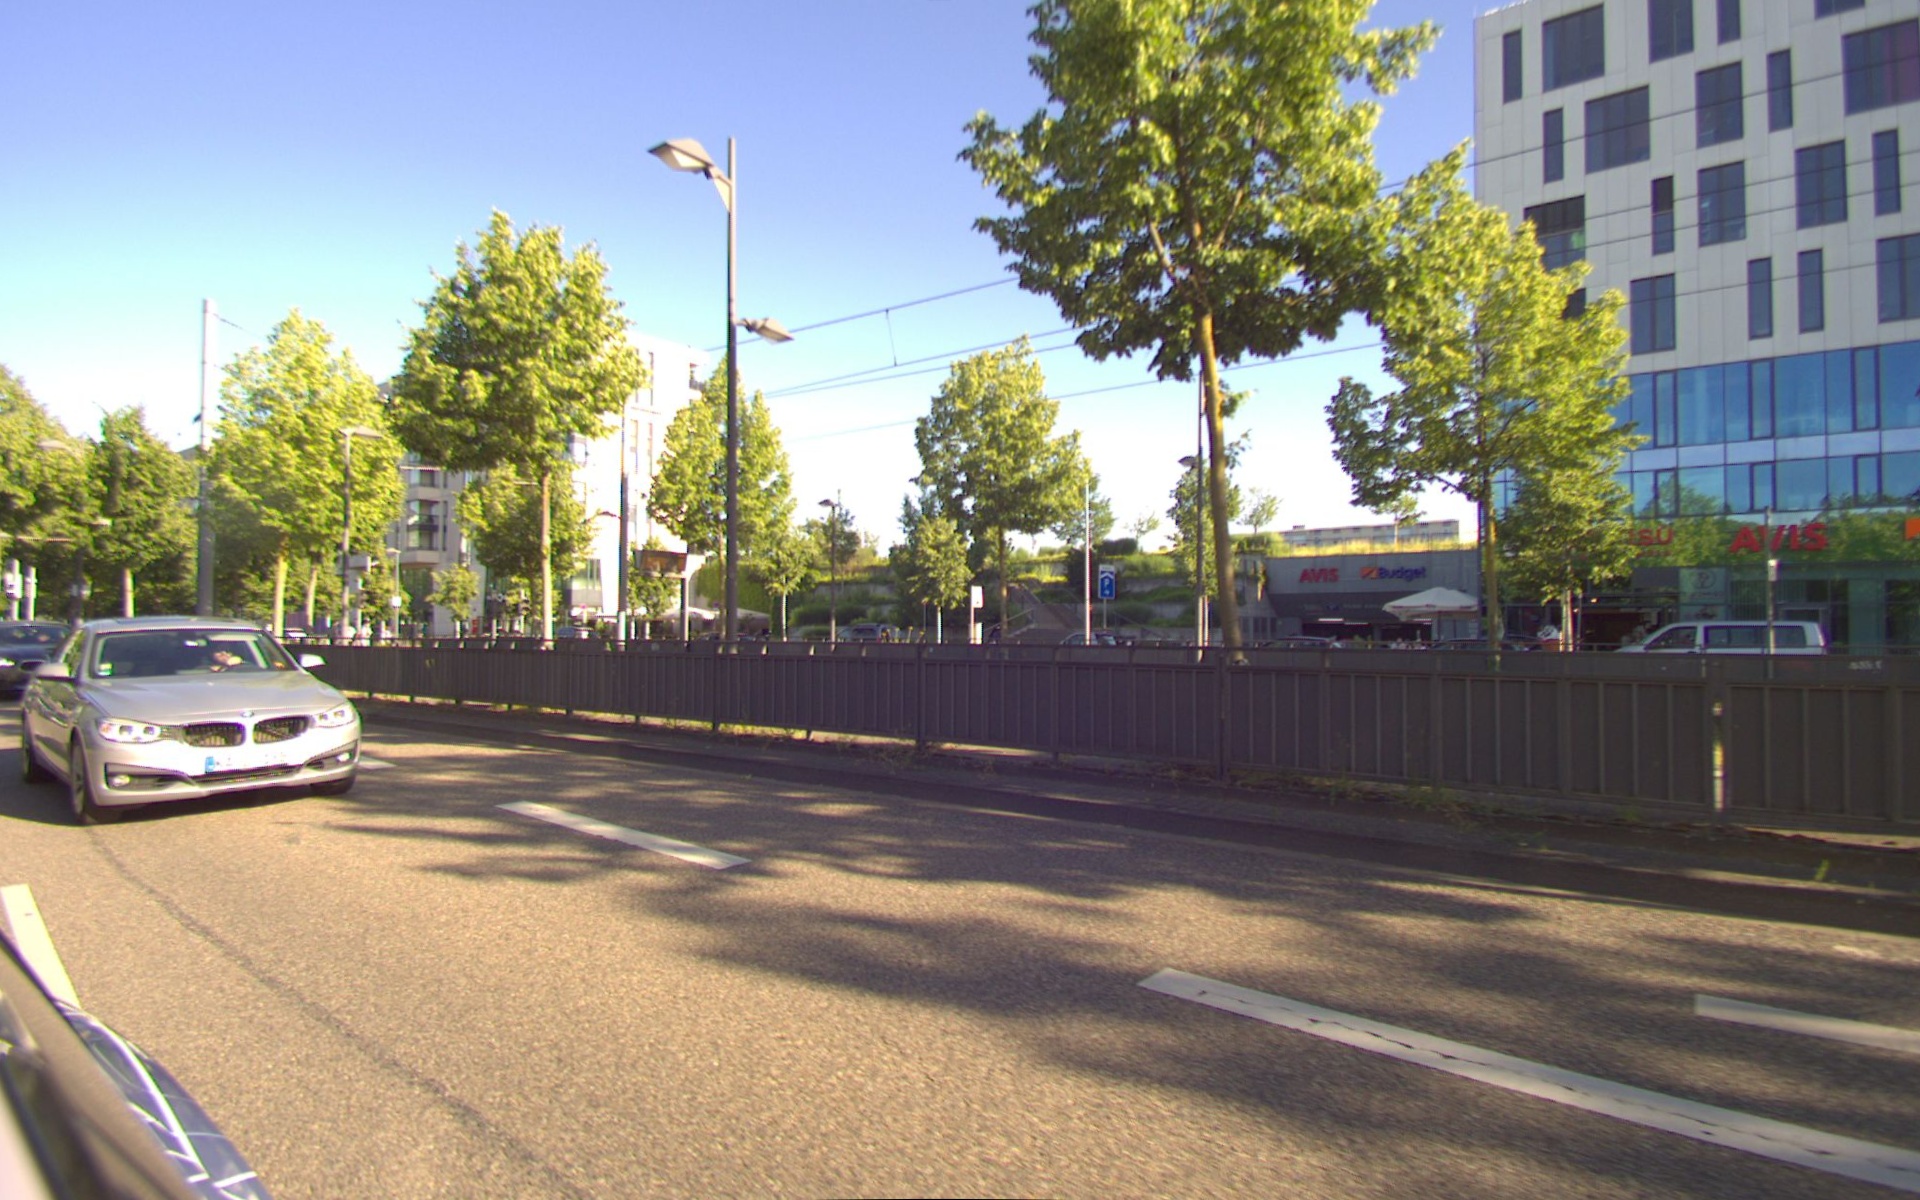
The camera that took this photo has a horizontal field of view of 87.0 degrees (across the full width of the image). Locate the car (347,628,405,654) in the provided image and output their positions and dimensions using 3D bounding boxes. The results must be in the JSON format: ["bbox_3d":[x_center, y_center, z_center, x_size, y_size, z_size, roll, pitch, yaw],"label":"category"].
[{"bbox_3d":[-43.601,3.011,75.550,4.766,1.785,1.976,-1,0,36],"label":"car"}]

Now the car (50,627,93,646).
[{"bbox_3d":[-76.019,3.077,86.574,3.992,1.497,1.976,-1,0,36],"label":"car"}]

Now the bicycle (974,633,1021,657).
[{"bbox_3d":[1.619,1.942,43.951,2.185,1.009,0.492,-1,0,38],"label":"bicycle"}]

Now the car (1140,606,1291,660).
[{"bbox_3d":[8.663,1.085,34.475,4.606,1.684,1.974,-1,0,39],"label":"car"}]

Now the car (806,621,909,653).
[{"bbox_3d":[-4.645,1.621,45.301,4.606,1.335,1.894,-1,0,39],"label":"car"}]

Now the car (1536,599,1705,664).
[{"bbox_3d":[22.103,1.003,33.932,4.558,2.029,1.974,-1,0,39],"label":"car"}]

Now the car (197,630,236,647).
[{"bbox_3d":[-71.606,3.703,97.448,4.449,1.452,1.975,-1,0,38],"label":"car"}]

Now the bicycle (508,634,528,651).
[{"bbox_3d":[-33.546,3.241,76.801,1.837,1.262,0.582,-1,0,38],"label":"bicycle"}]

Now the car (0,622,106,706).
[{"bbox_3d":[-18.874,1.218,20.354,3.997,1.534,1.926,-1,-2,40],"label":"car"}]

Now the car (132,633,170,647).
[{"bbox_3d":[-88.460,4.380,110.639,4.915,1.452,1.976,-1,0,36],"label":"car"}]

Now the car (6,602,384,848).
[{"bbox_3d":[-6.749,0.841,8.745,4.277,1.590,1.862,-1,0,42],"label":"car"}]

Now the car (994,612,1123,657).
[{"bbox_3d":[3.727,1.277,38.678,4.606,1.620,1.974,-1,0,39],"label":"car"}]

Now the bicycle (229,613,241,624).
[{"bbox_3d":[-82.322,2.083,114.888,1.605,1.290,0.592,-1,0,36],"label":"bicycle"}]

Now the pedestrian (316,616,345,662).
[{"bbox_3d":[-26.109,1.614,41.956,0.725,1.850,0.813,-1,0,35],"label":"pedestrian"}]

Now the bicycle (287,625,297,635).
[{"bbox_3d":[-65.996,2.944,99.968,1.798,1.024,0.375,-1,0,40],"label":"bicycle"}]

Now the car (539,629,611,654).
[{"bbox_3d":[-22.437,2.400,58.920,4.606,1.445,1.861,-2,-2,39],"label":"car"}]

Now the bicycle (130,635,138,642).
[{"bbox_3d":[-114.516,5.350,140.227,1.848,0.996,0.611,-1,0,43],"label":"bicycle"}]

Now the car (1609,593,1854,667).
[{"bbox_3d":[19.698,0.732,26.057,4.847,1.727,1.974,-1,0,39],"label":"car"}]

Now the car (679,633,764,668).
[{"bbox_3d":[-12.268,2.551,51.957,4.606,1.633,1.861,-1,0,39],"label":"car"}]

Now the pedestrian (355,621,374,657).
[{"bbox_3d":[-25.734,1.689,43.719,0.603,1.508,0.537,-1,0,42],"label":"pedestrian"}]

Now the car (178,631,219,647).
[{"bbox_3d":[-75.606,3.865,100.490,4.769,1.452,1.976,-1,0,36],"label":"car"}]

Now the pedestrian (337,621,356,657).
[{"bbox_3d":[-26.550,1.666,43.805,0.588,1.529,0.544,-1,0,43],"label":"pedestrian"}]

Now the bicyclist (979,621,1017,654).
[{"bbox_3d":[1.654,1.614,43.926,1.658,1.416,0.484,-1,0,38],"label":"bicyclist"}]

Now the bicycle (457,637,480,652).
[{"bbox_3d":[-39.618,3.586,81.602,2.237,1.207,0.726,-1,0,37],"label":"bicycle"}]

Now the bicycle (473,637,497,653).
[{"bbox_3d":[-37.497,3.557,79.890,2.237,1.207,0.726,-1,0,37],"label":"bicycle"}]

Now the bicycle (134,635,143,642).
[{"bbox_3d":[-112.505,5.250,138.581,1.847,0.960,0.574,-1,0,40],"label":"bicycle"}]

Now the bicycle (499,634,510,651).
[{"bbox_3d":[-35.142,3.282,78.085,0.580,1.262,1.845,0,0,-31],"label":"bicycle"}]

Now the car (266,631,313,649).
[{"bbox_3d":[-57.619,3.414,86.954,4.446,1.452,1.976,-1,0,36],"label":"car"}]

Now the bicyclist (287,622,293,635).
[{"bbox_3d":[-66.398,2.811,100.288,0.718,1.313,0.364,-1,0,40],"label":"bicyclist"}]

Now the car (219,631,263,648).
[{"bbox_3d":[-66.699,3.617,93.827,4.446,1.452,1.976,-1,0,36],"label":"car"}]
